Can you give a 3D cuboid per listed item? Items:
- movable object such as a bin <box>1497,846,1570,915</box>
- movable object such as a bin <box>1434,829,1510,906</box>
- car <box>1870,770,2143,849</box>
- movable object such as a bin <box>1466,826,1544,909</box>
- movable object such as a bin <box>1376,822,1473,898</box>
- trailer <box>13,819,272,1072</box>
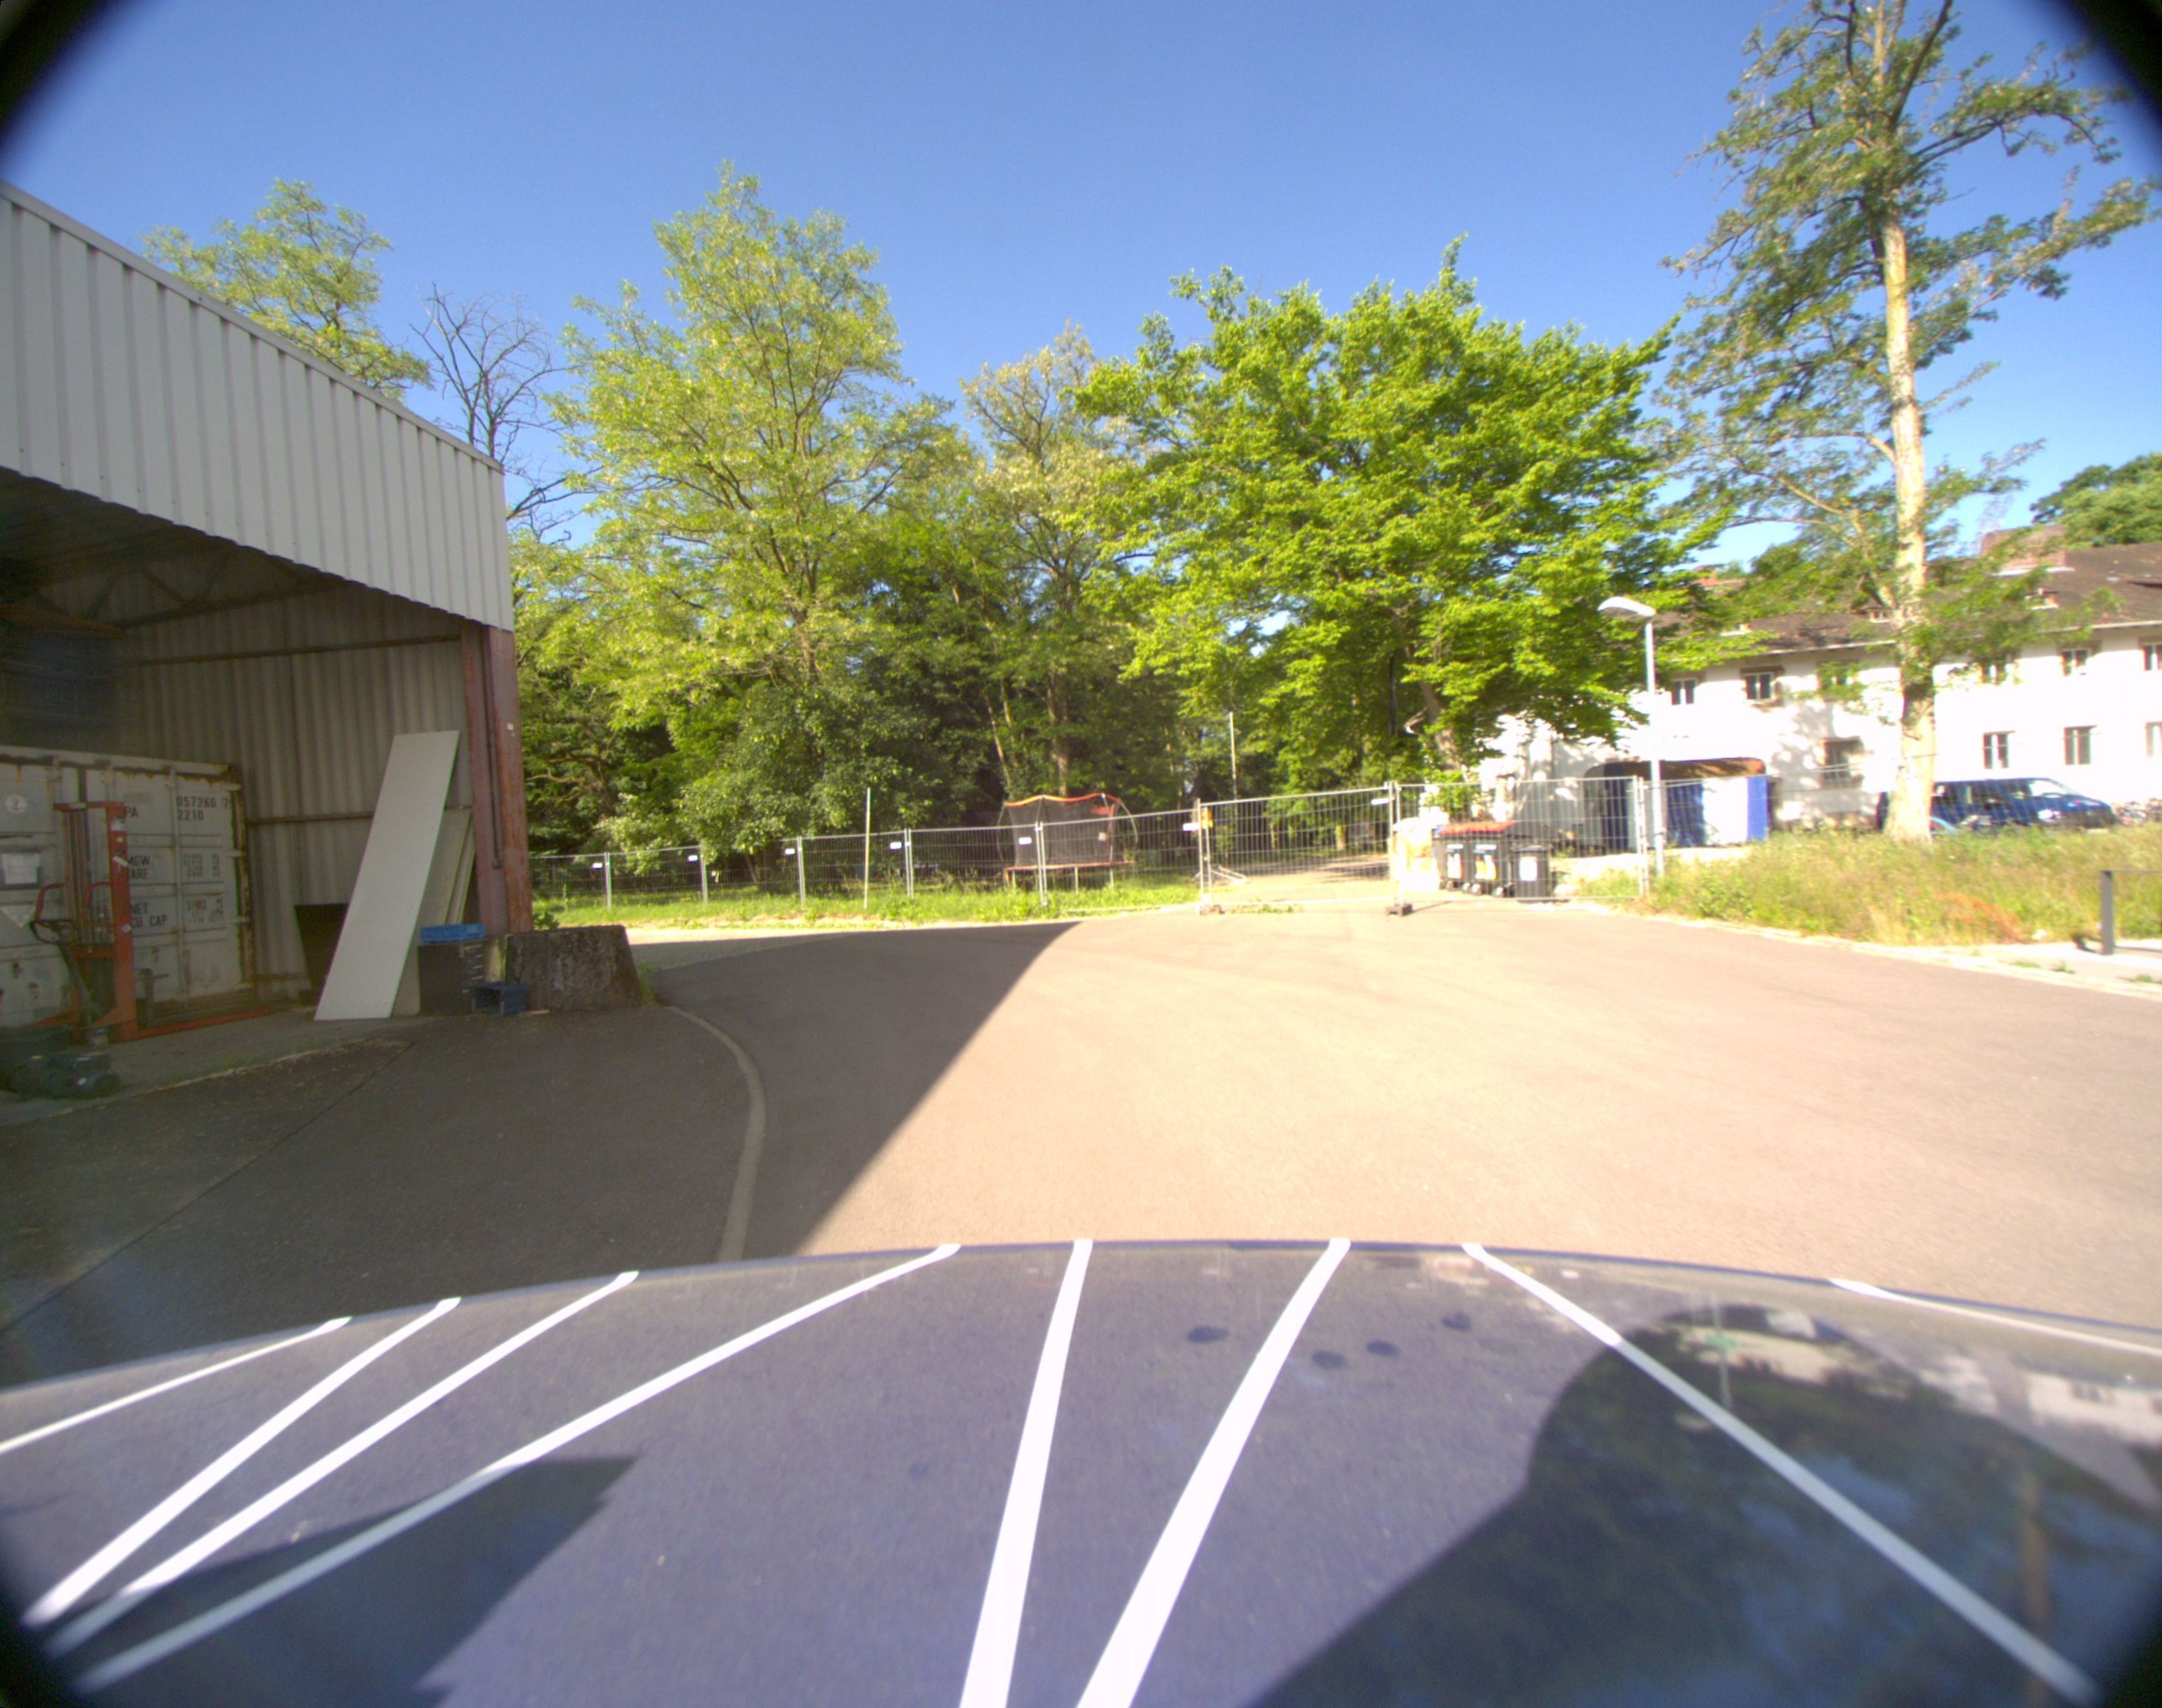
[{"bbox_3d":[7.678,0.434,12.938,0.818,1.091,0.739,-3,1,10],"label":"movable object such as a bin"},{"bbox_3d":[7.955,0.254,15.533,0.806,1.476,1.341,-3,1,0],"label":"movable object such as a bin"},{"bbox_3d":[25.629,-1.147,21.384,1.998,1.891,4.725,-2,1,2],"label":"car"},{"bbox_3d":[7.843,0.231,14.104,0.702,1.436,1.248,-3,1,1],"label":"movable object such as a bin"},{"bbox_3d":[7.894,0.112,17.620,1.173,1.582,2.295,-3,1,1],"label":"movable object such as a bin"},{"bbox_3d":[-8.467,0.766,6.939,0.581,2.055,1.284,-5,-1,3],"label":"trailer"}]
